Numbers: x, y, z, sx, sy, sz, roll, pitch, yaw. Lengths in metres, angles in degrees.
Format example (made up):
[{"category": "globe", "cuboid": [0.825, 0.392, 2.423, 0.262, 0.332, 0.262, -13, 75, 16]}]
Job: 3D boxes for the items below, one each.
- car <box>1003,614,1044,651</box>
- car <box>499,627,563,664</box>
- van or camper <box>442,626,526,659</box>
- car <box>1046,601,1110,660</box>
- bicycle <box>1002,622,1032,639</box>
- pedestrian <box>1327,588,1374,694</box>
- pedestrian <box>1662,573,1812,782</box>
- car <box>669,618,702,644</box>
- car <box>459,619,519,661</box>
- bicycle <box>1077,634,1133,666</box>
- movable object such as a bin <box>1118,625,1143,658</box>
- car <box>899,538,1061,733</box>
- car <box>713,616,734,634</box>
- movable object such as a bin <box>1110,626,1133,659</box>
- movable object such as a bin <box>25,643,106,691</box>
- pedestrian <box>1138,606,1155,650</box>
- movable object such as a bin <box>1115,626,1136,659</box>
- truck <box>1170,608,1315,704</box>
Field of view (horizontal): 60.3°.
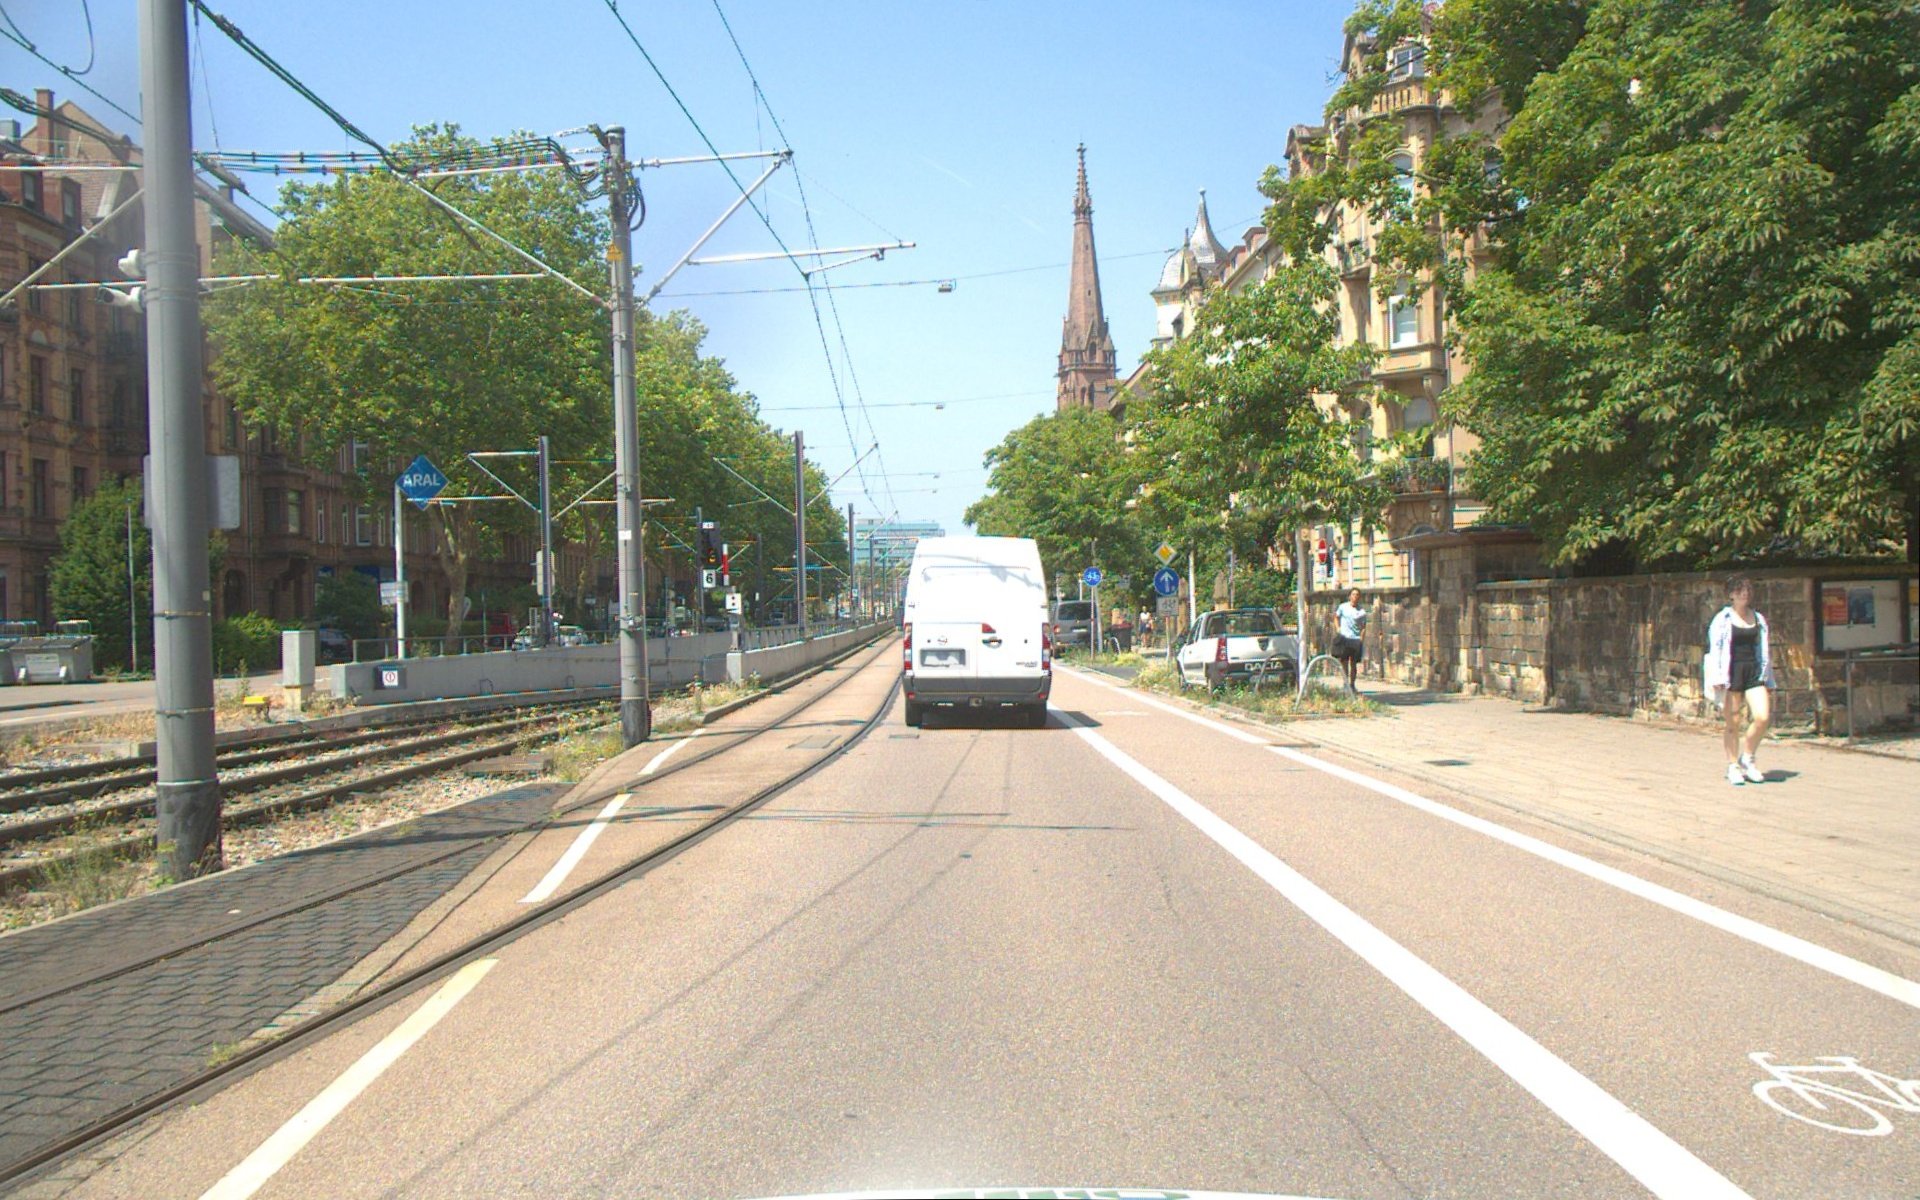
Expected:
[{"category": "car", "cuboid": [2.851, 1.437, 74.988, 1.633, 1.557, 4.012, -2, 0, -1]}, {"category": "car", "cuboid": [-20.428, 2.147, 78.993, 1.953, 1.653, 4.716, -1, 0, -2]}, {"category": "van or camper", "cuboid": [-28.983, 2.597, 100.746, 4.448, 1.869, 1.933, -1, 0, 4]}, {"category": "car", "cuboid": [4.250, 1.083, 60.395, 1.841, 1.981, 4.835, -3, 0, -1]}, {"category": "bicycle", "cuboid": [3.435, 1.839, 100.094, 1.804, 0.970, 0.503, -2, 0, 0]}, {"category": "pedestrian", "cuboid": [6.658, 0.691, 28.200, 0.608, 1.785, 0.678, -1, 0, 0]}, {"category": "pedestrian", "cuboid": [6.482, 0.627, 13.851, 0.777, 1.679, 0.967, -1, 0, 0]}, {"category": "car", "cuboid": [-18.099, 2.040, 109.258, 1.708, 1.668, 3.860, -1, -1, -3]}, {"category": "car", "cuboid": [-20.434, 1.725, 71.834, 1.620, 1.714, 3.705, -1, 0, -2]}, {"category": "bicycle", "cuboid": [4.958, 1.707, 56.543, 1.847, 1.009, 0.469, -1, -1, -11]}, {"category": "movable object such as a bin", "cuboid": [5.530, 1.350, 53.721, 0.771, 1.031, 0.650, -1, 0, 5]}, {"category": "car", "cuboid": [0.166, 0.470, 24.113, 2.074, 2.502, 5.052, -1, 0, -2]}, {"category": "car", "cuboid": [-20.452, 2.172, 143.102, 1.345, 1.448, 3.087, -2, 0, 0]}, {"category": "movable object such as a bin", "cuboid": [5.367, 1.411, 55.062, 0.730, 1.081, 0.496, -1, 0, 5]}, {"category": "movable object such as a bin", "cuboid": [-27.937, 2.078, 51.689, 1.747, 1.409, 1.469, -1, -1, -3]}, {"category": "pedestrian", "cuboid": [6.954, 1.026, 61.589, 0.540, 1.626, 0.728, -1, 0, 1]}, {"category": "movable object such as a bin", "cuboid": [5.452, 1.389, 54.405, 0.655, 1.081, 0.496, -1, 0, 5]}, {"category": "truck", "cuboid": [4.967, 0.933, 29.638, 1.753, 1.553, 4.464, -1, 0, -1]}]
